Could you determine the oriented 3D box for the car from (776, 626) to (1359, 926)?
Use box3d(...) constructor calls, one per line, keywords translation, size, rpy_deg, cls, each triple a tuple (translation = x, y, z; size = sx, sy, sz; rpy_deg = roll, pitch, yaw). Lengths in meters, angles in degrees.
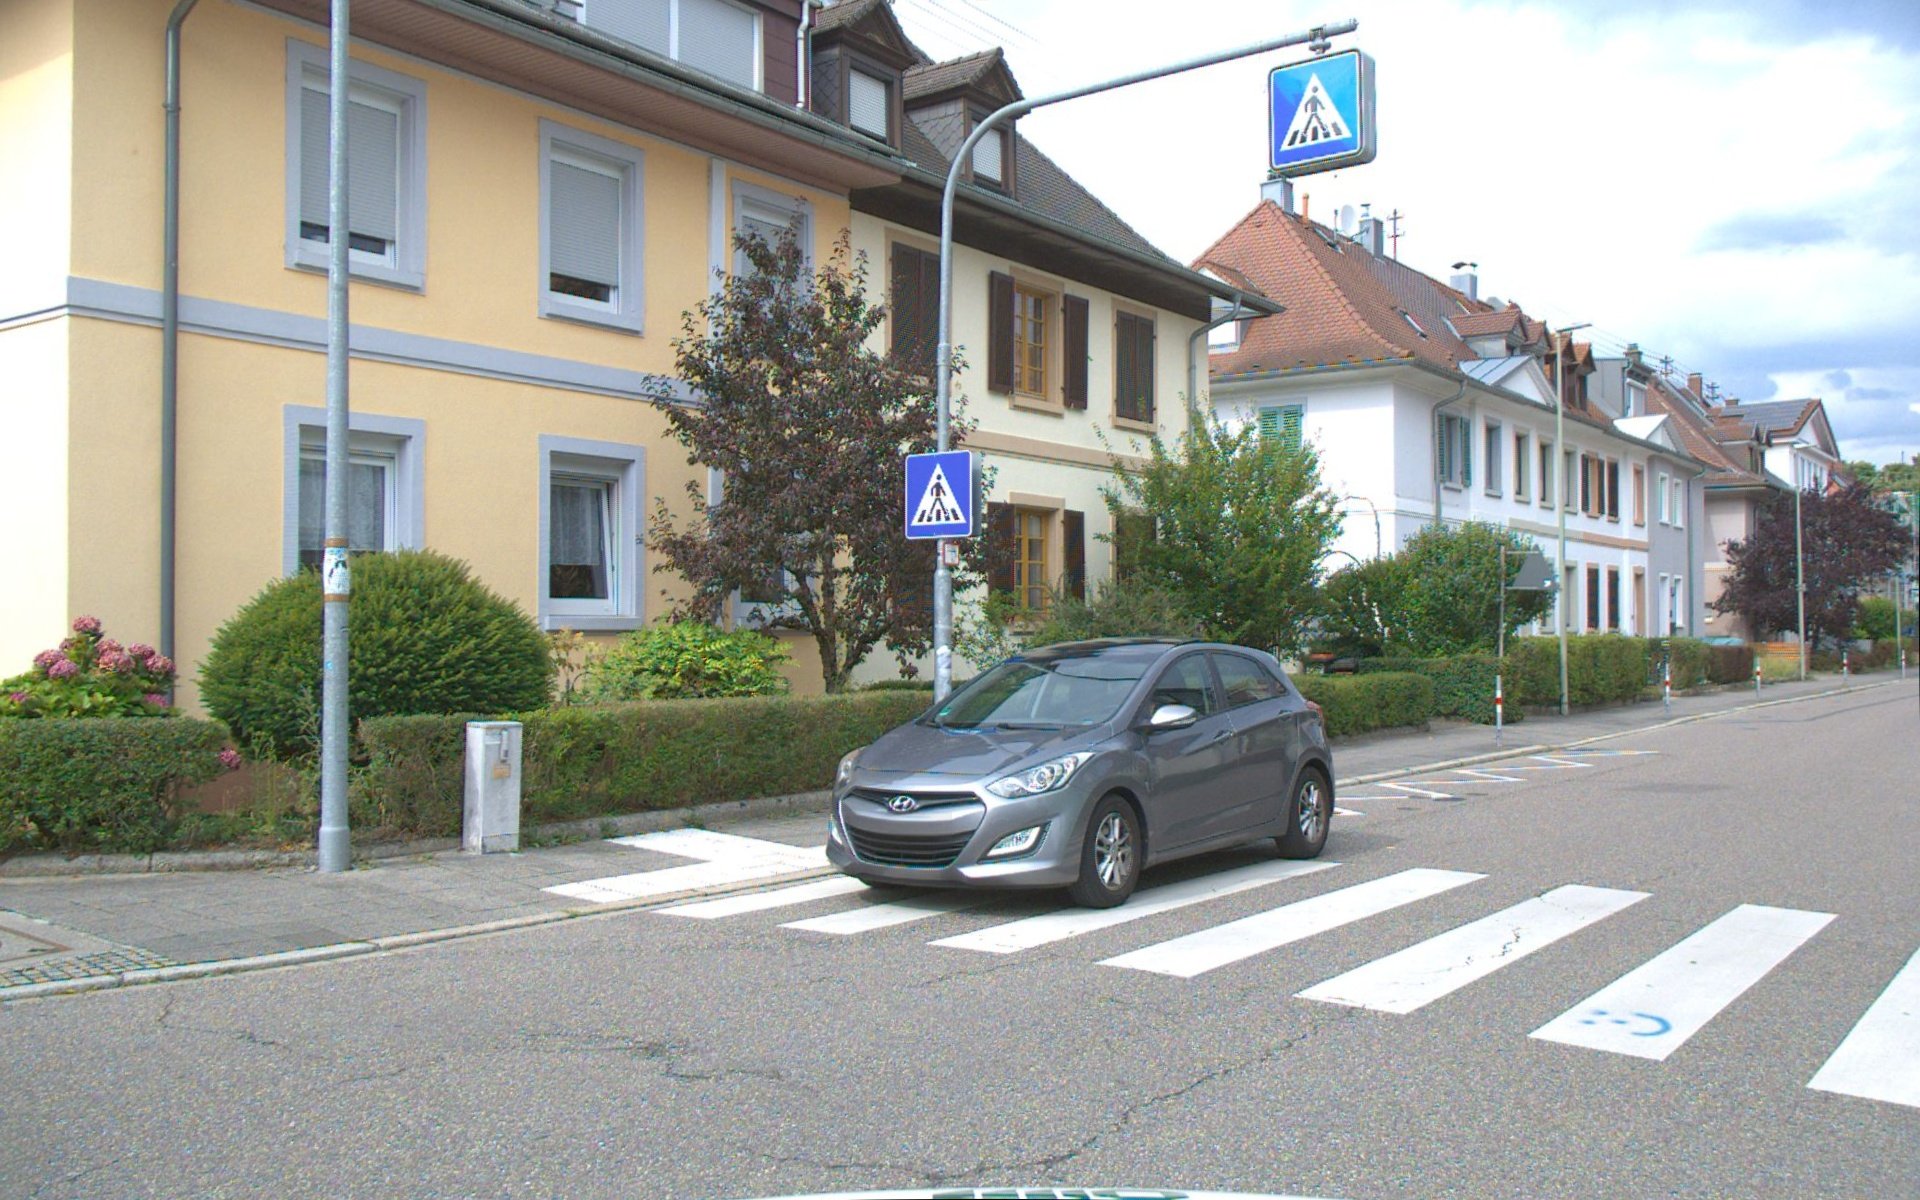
box3d(translation=(0.864, 0.926, 10.504), size=(1.818, 1.507, 4.025), rpy_deg=(-1, -1, 37), cls="car")
